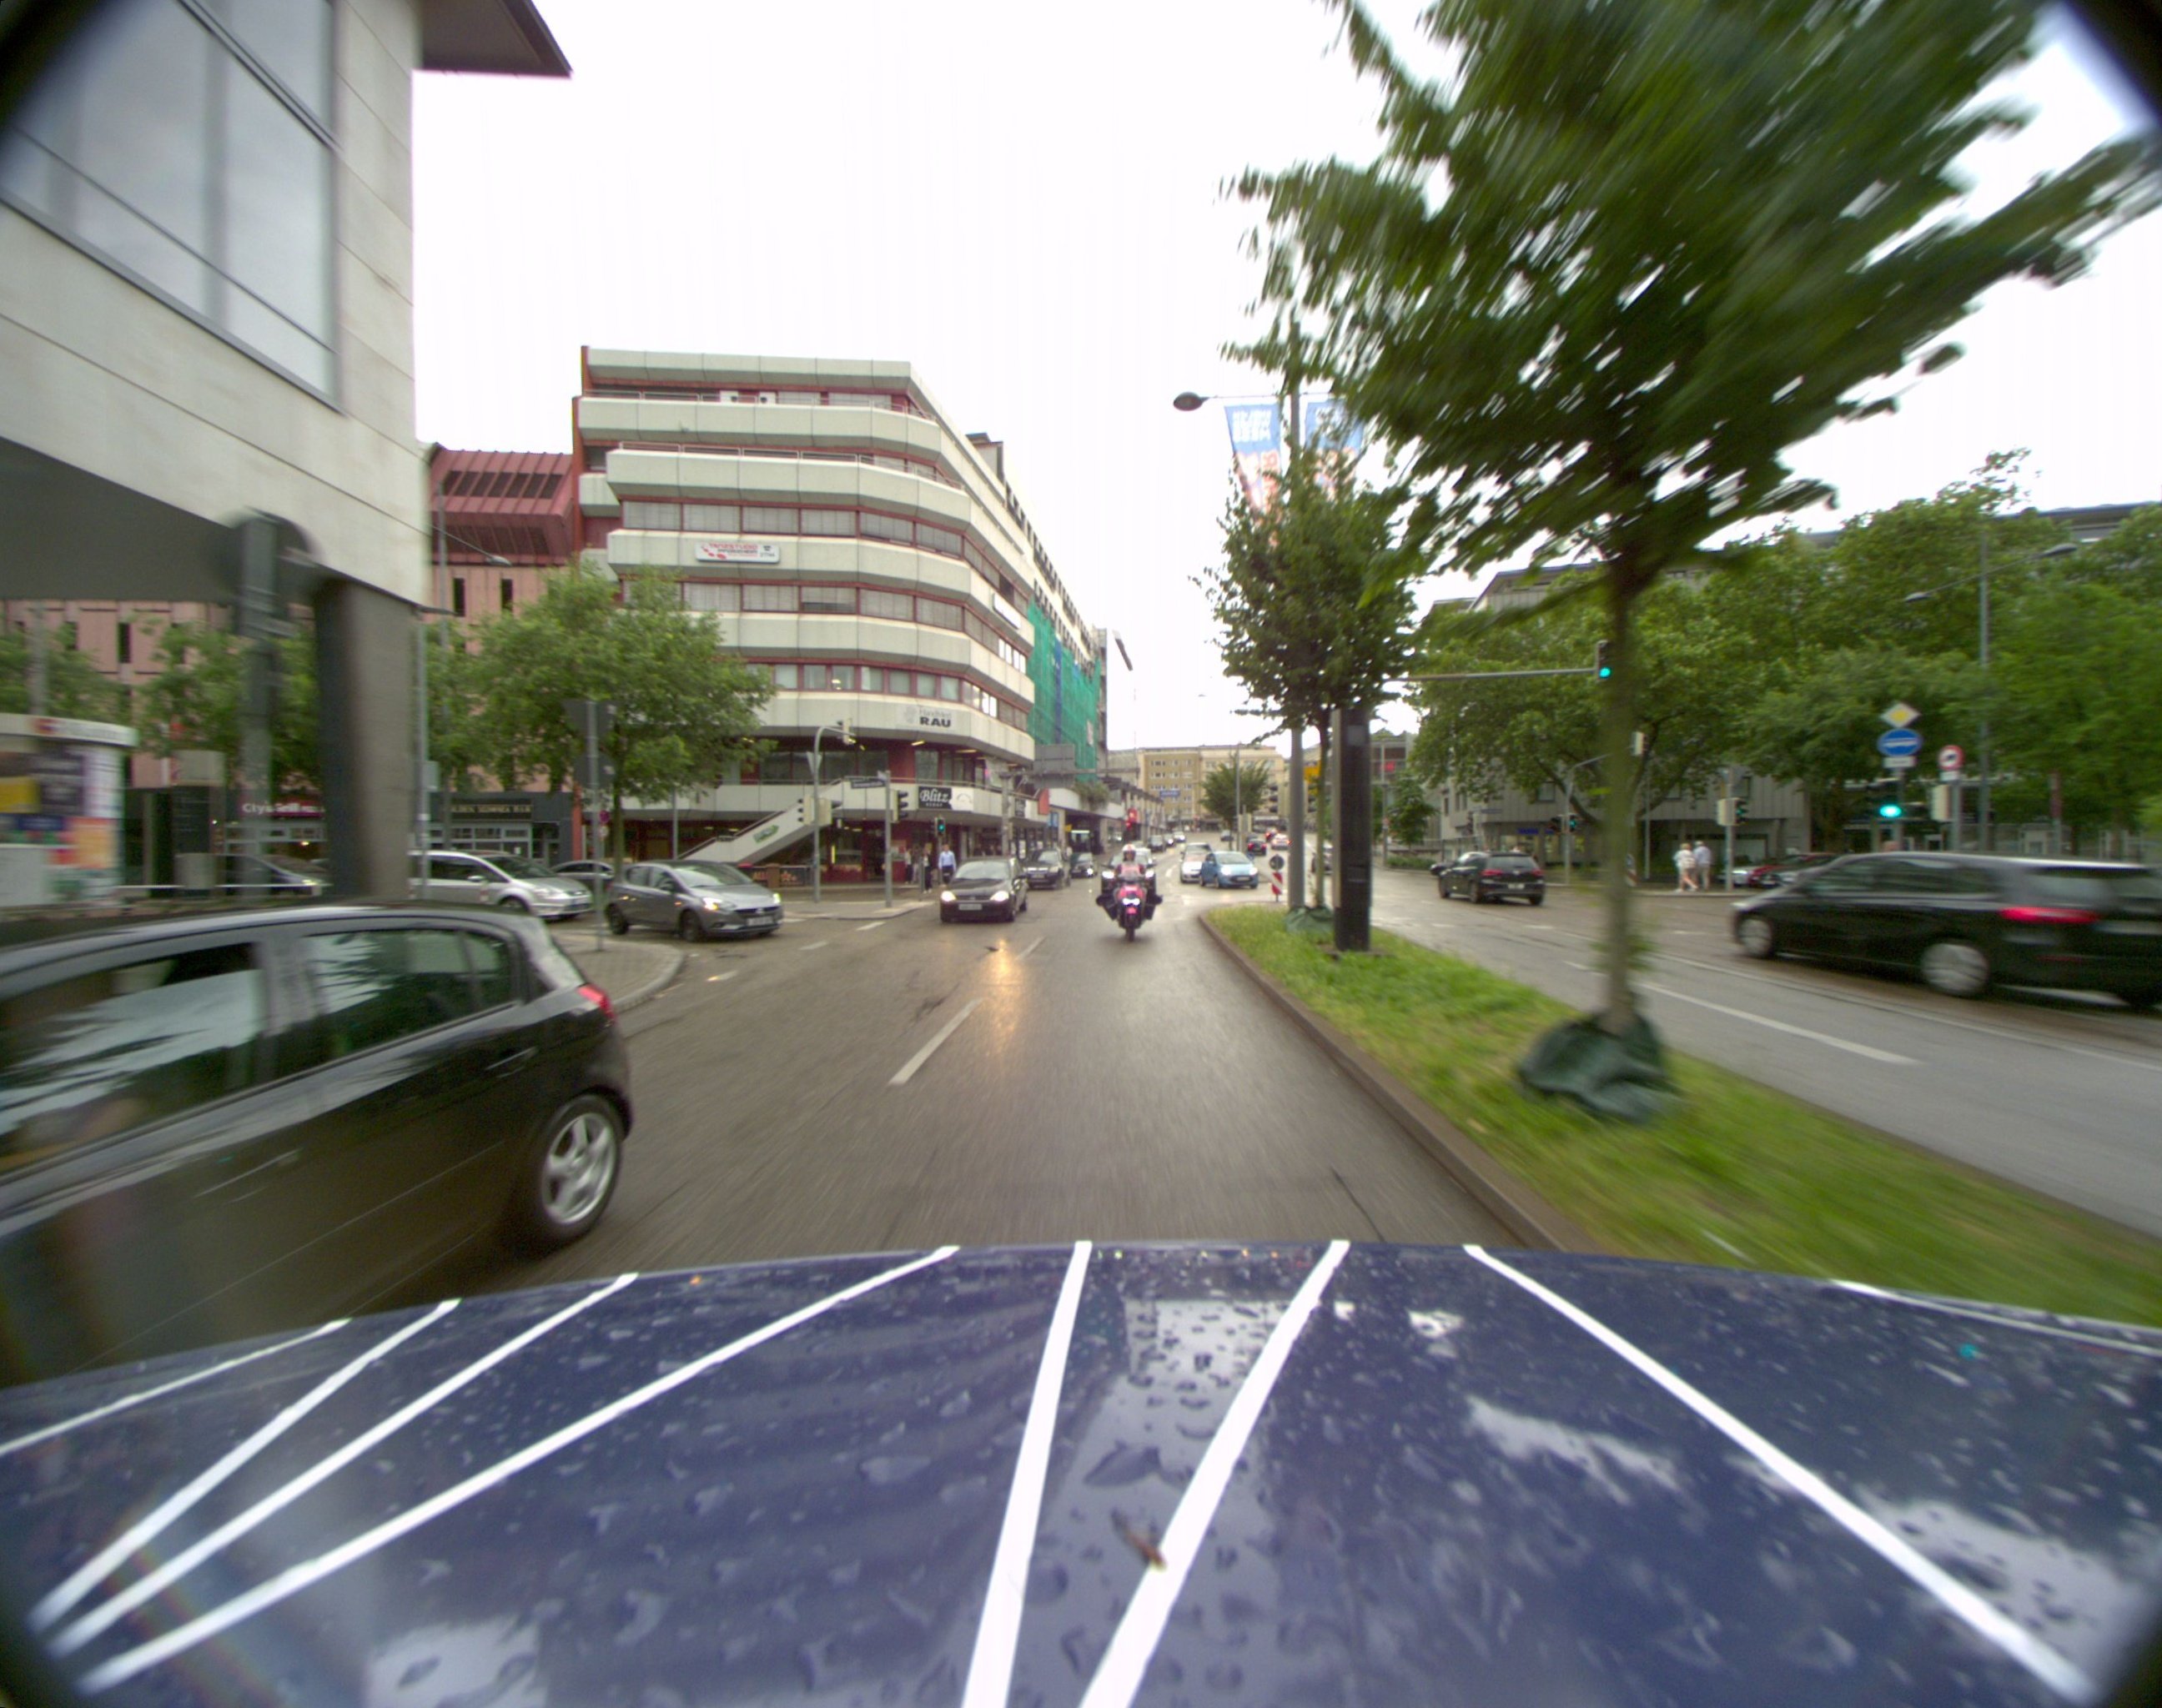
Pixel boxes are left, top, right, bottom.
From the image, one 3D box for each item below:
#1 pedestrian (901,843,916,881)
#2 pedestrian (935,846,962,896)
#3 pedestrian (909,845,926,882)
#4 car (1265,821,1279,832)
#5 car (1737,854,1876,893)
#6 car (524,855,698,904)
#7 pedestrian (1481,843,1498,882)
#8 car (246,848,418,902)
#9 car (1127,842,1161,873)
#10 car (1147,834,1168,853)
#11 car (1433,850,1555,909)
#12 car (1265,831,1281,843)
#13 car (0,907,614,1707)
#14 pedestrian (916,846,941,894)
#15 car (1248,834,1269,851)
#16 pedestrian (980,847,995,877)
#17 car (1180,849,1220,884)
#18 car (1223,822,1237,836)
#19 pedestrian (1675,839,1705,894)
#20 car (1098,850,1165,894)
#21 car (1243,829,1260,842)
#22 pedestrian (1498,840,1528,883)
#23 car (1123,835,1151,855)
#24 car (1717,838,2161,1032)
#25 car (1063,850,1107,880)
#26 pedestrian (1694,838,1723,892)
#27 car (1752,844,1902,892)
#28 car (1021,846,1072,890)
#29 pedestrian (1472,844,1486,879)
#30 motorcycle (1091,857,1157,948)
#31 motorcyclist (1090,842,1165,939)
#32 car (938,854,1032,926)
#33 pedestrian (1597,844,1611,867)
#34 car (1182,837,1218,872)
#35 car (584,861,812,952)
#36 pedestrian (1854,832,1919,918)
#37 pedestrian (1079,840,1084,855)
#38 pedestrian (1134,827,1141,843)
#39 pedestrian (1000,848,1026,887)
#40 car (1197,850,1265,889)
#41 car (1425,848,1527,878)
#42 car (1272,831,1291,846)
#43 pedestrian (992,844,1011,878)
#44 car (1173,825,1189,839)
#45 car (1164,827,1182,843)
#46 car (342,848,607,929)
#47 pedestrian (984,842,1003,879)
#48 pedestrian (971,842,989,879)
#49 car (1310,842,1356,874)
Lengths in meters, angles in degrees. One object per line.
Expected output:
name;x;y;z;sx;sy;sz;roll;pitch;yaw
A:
pedestrian;-8.246;0.380;36.341;0.528;1.754;0.510;-3;4;-32
pedestrian;-5.014;0.625;28.798;0.623;1.837;0.848;0;3;16
pedestrian;-7.912;0.445;36.830;0.596;1.754;0.493;-1;3;10
car;28.104;-4.079;111.894;1.628;1.430;3.647;0;4;10
car;29.744;0.787;31.246;3.996;1.577;1.702;0;0;3
car;-14.601;0.780;23.794;4.271;1.412;1.787;0;1;-3
pedestrian;19.576;0.405;36.408;0.447;1.827;0.676;0;4;5
car;-26.112;0.703;26.615;3.998;1.544;1.806;-3;3;-2
car;3.681;0.204;43.965;1.631;1.731;3.602;0;0;9
car;8.151;-1.142;80.678;1.830;1.727;4.001;1;4;11
car;11.694;0.648;21.842;1.760;1.412;4.098;2;2;9
car;25.238;-2.271;99.952;1.621;1.483;3.881;2;2;9
car;-2.925;1.003;1.430;1.712;1.448;3.742;-2;1;0
pedestrian;-5.802;0.608;28.864;0.623;1.764;0.677;0;3;16
car;16.320;-1.046;70.009;1.625;1.547;3.661;0;1;8
pedestrian;-5.406;0.454;44.117;0.575;1.654;0.941;1;1;12
car;5.606;0.548;36.192;1.768;1.401;4.001;-2;2;7
car;20.378;-3.468;103.763;1.830;1.727;4.001;1;4;11
pedestrian;20.273;0.407;25.299;0.528;1.754;0.593;-3;2;8
car;1.999;0.610;28.765;1.936;1.511;4.472;-1;0;11
car;20.359;-2.200;90.739;1.716;1.470;3.959;2;2;9
pedestrian;19.685;0.320;34.643;0.861;1.896;0.826;-2;2;-14
car;5.098;-0.844;68.942;1.775;1.575;4.002;-3;3;15
car;10.025;0.710;8.918;1.831;1.726;4.260;1;1;7
car;0.282;0.633;44.404;1.680;1.422;3.778;-1;3;14
pedestrian;20.900;0.359;25.316;0.527;1.754;0.593;0;1;8
car;27.042;0.486;27.666;3.596;1.686;1.638;0;0;10
car;-1.367;0.536;31.908;1.735;1.669;4.249;-2;1;2
pedestrian;19.650;0.370;37.482;0.412;1.753;0.677;0;0;8
motorcycle;0.844;0.814;13.920;0.831;1.479;2.868;-1;0;10
motorcyclist;0.886;0.656;14.165;1.295;1.757;0.846;0;1;10
car;-2.164;0.770;18.001;1.595;1.433;3.627;-1;2;2
pedestrian;39.055;0.097;56.767;0.621;1.648;0.633;0;4;16
car;7.372;-0.045;46.630;1.997;1.768;4.886;-2;3;10
car;-7.498;0.935;14.864;3.989;1.468;2.003;-1;2;29
pedestrian;16.977;0.437;16.030;0.648;1.755;0.592;-1;4;5
pedestrian;0.023;-0.677;75.541;0.429;1.481;0.524;-1;4;-8
pedestrian;6.999;-2.366;94.262;0.707;1.772;0.641;5;10;11
pedestrian;-3.267;0.646;36.565;0.897;1.770;0.806;5;4;13
car;6.001;0.575;30.796;1.700;1.466;3.688;-1;0;-5
car;20.831;0.424;40.209;4.412;1.388;1.937;2;3;42
car;21.324;-1.657;80.898;1.675;1.507;3.645;1;2;10
pedestrian;-4.247;0.356;40.573;0.750;1.770;0.888;-2;3;6
car;13.574;-2.978;102.926;1.830;1.727;4.001;1;4;11
car;10.978;-2.246;90.763;1.830;1.727;4.001;1;4;11
car;-13.909;0.756;17.628;4.605;1.750;1.856;0;2;1
pedestrian;-4.523;0.323;39.496;0.760;1.891;0.790;0;3;10
pedestrian;-5.268;0.347;39.519;0.733;1.885;0.676;0;3;9
car;14.547;0.166;44.072;1.830;1.726;4.312;0;2;9
